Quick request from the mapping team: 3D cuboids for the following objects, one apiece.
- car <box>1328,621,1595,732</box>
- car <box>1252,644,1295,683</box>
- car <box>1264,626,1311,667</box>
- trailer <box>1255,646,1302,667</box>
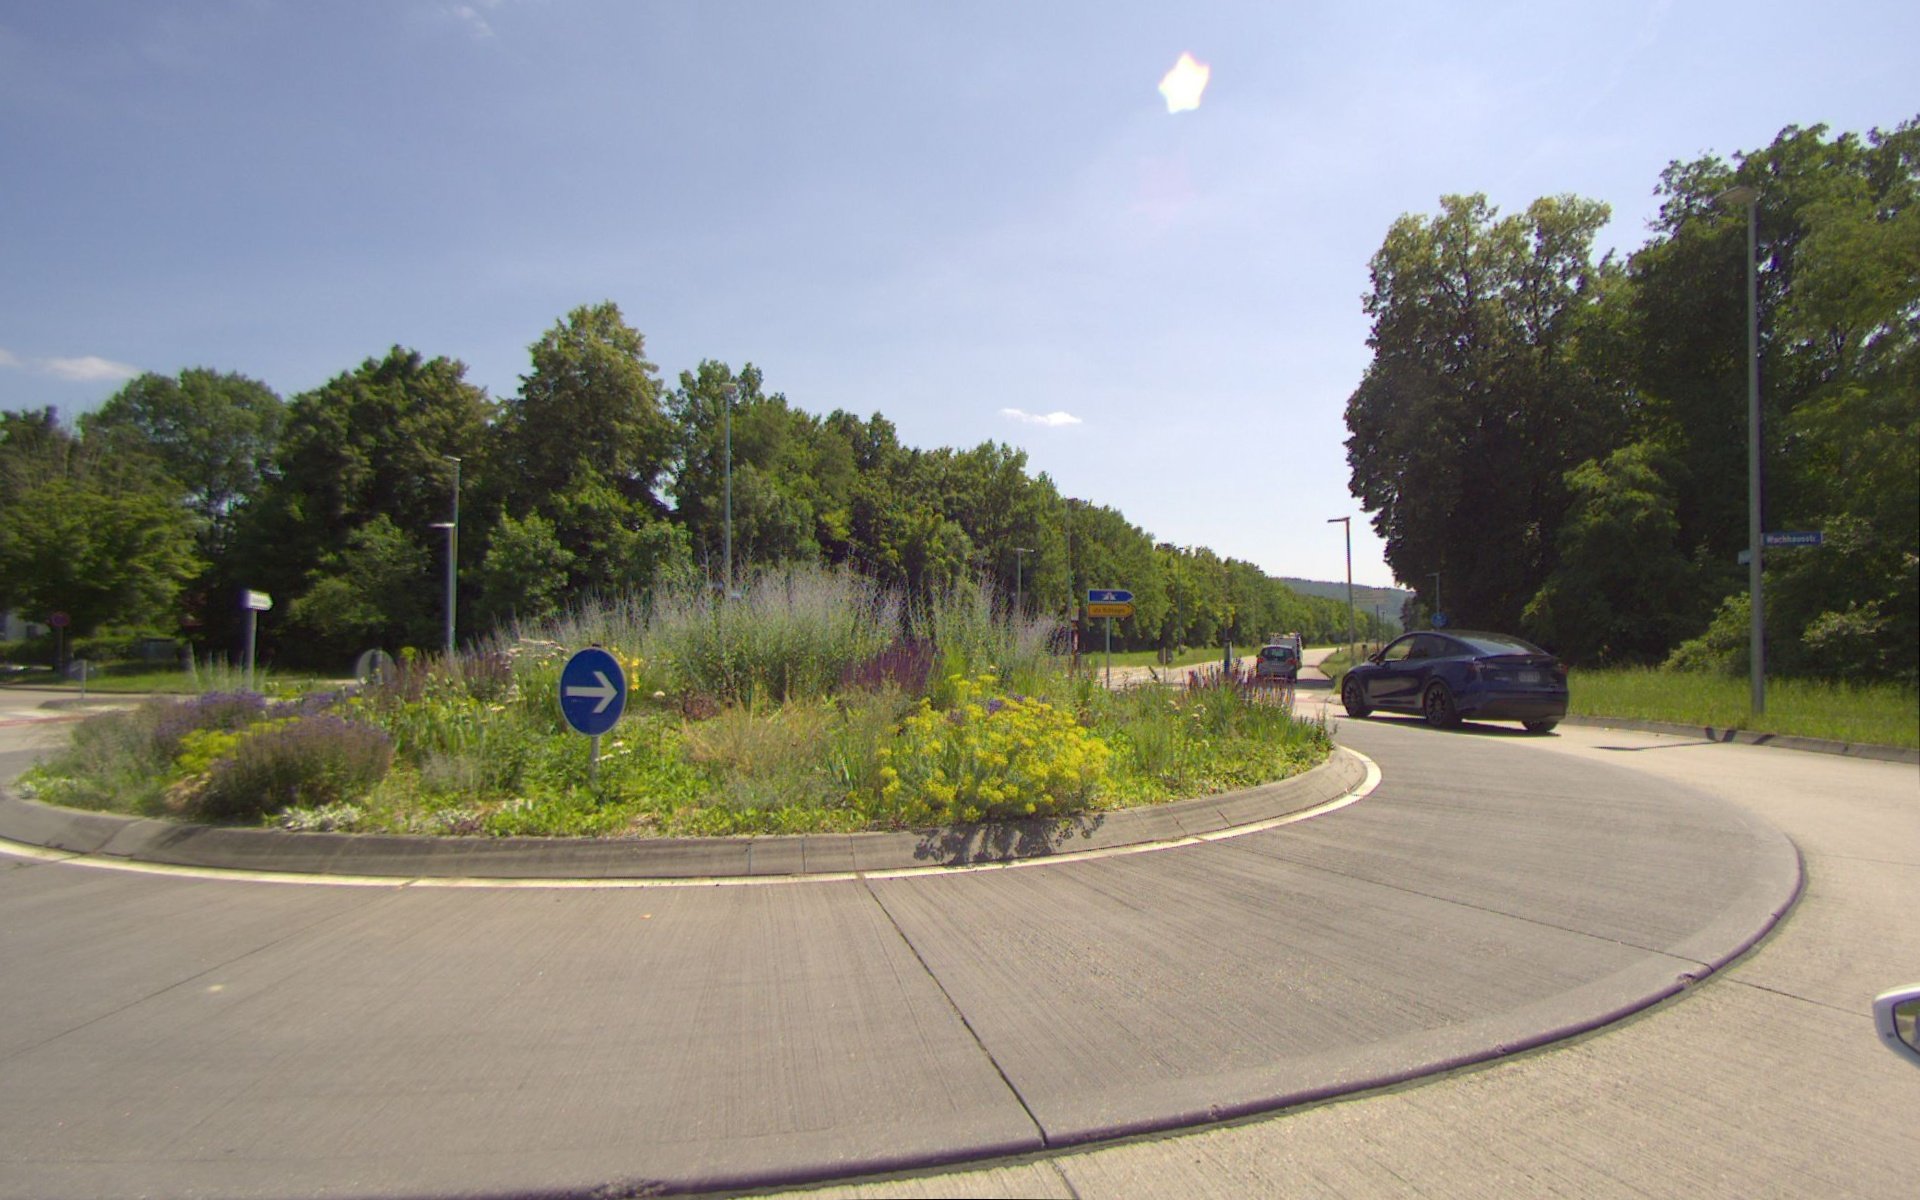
[{"bbox_3d":[8.432,1.239,17.496,1.962,1.661,4.755,0,-2,-5],"label":"car"},{"bbox_3d":[14.075,2.815,45.110,1.755,1.628,4.129,0,-2,18],"label":"car"},{"bbox_3d":[19.896,2.785,60.877,2.132,2.346,4.978,0,-2,25],"label":"car"},{"bbox_3d":[18.124,3.209,57.097,2.088,1.112,3.352,0,-2,25],"label":"trailer"}]
